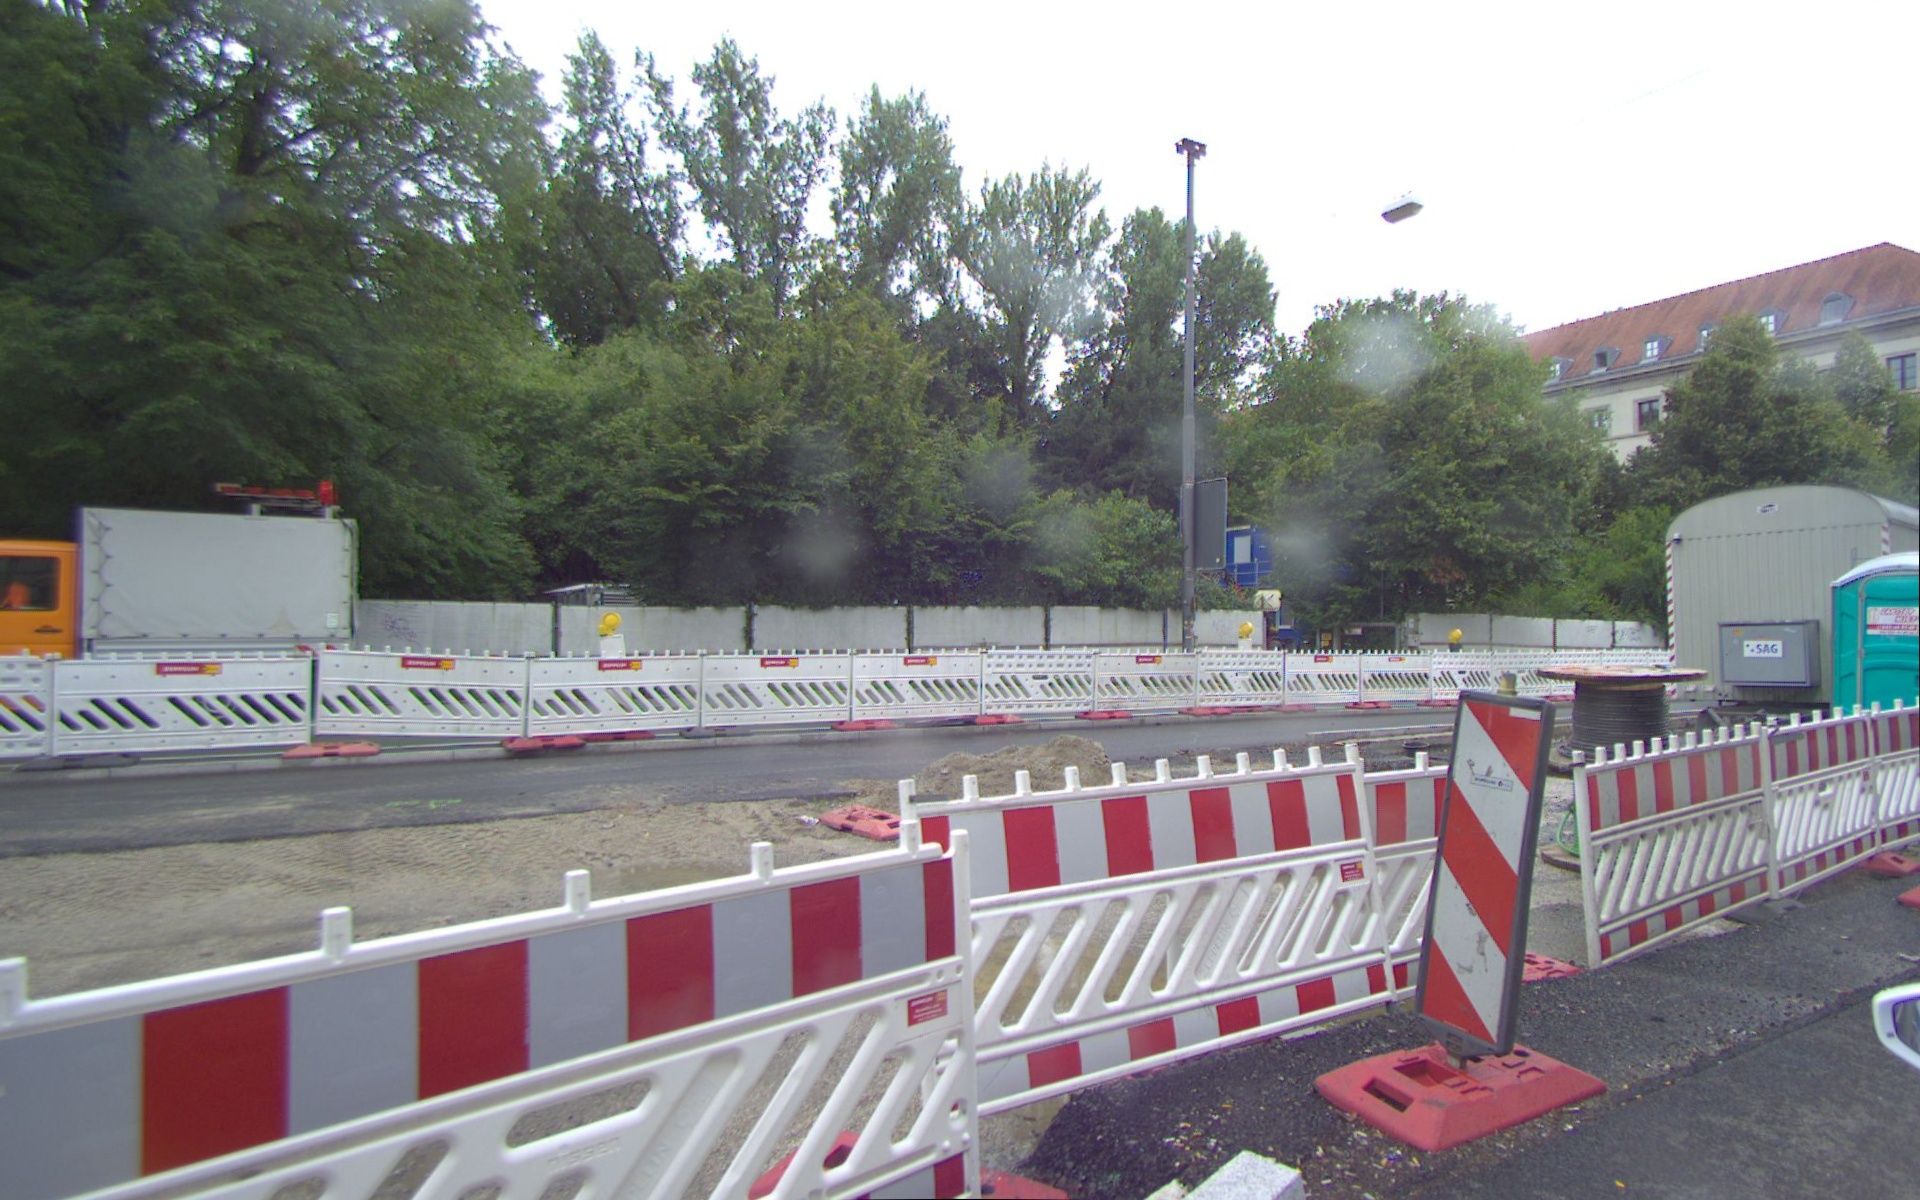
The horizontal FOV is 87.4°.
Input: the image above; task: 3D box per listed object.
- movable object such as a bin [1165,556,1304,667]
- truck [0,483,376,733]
[{"bbox_3d":[10.629,0.497,38.851,5.009,4.014,2.453,1,-2,-32],"label":"movable object such as a bin"},{"bbox_3d":[-11.091,0.127,12.800,6.132,2.887,2.115,1,-2,-28],"label":"truck"}]
